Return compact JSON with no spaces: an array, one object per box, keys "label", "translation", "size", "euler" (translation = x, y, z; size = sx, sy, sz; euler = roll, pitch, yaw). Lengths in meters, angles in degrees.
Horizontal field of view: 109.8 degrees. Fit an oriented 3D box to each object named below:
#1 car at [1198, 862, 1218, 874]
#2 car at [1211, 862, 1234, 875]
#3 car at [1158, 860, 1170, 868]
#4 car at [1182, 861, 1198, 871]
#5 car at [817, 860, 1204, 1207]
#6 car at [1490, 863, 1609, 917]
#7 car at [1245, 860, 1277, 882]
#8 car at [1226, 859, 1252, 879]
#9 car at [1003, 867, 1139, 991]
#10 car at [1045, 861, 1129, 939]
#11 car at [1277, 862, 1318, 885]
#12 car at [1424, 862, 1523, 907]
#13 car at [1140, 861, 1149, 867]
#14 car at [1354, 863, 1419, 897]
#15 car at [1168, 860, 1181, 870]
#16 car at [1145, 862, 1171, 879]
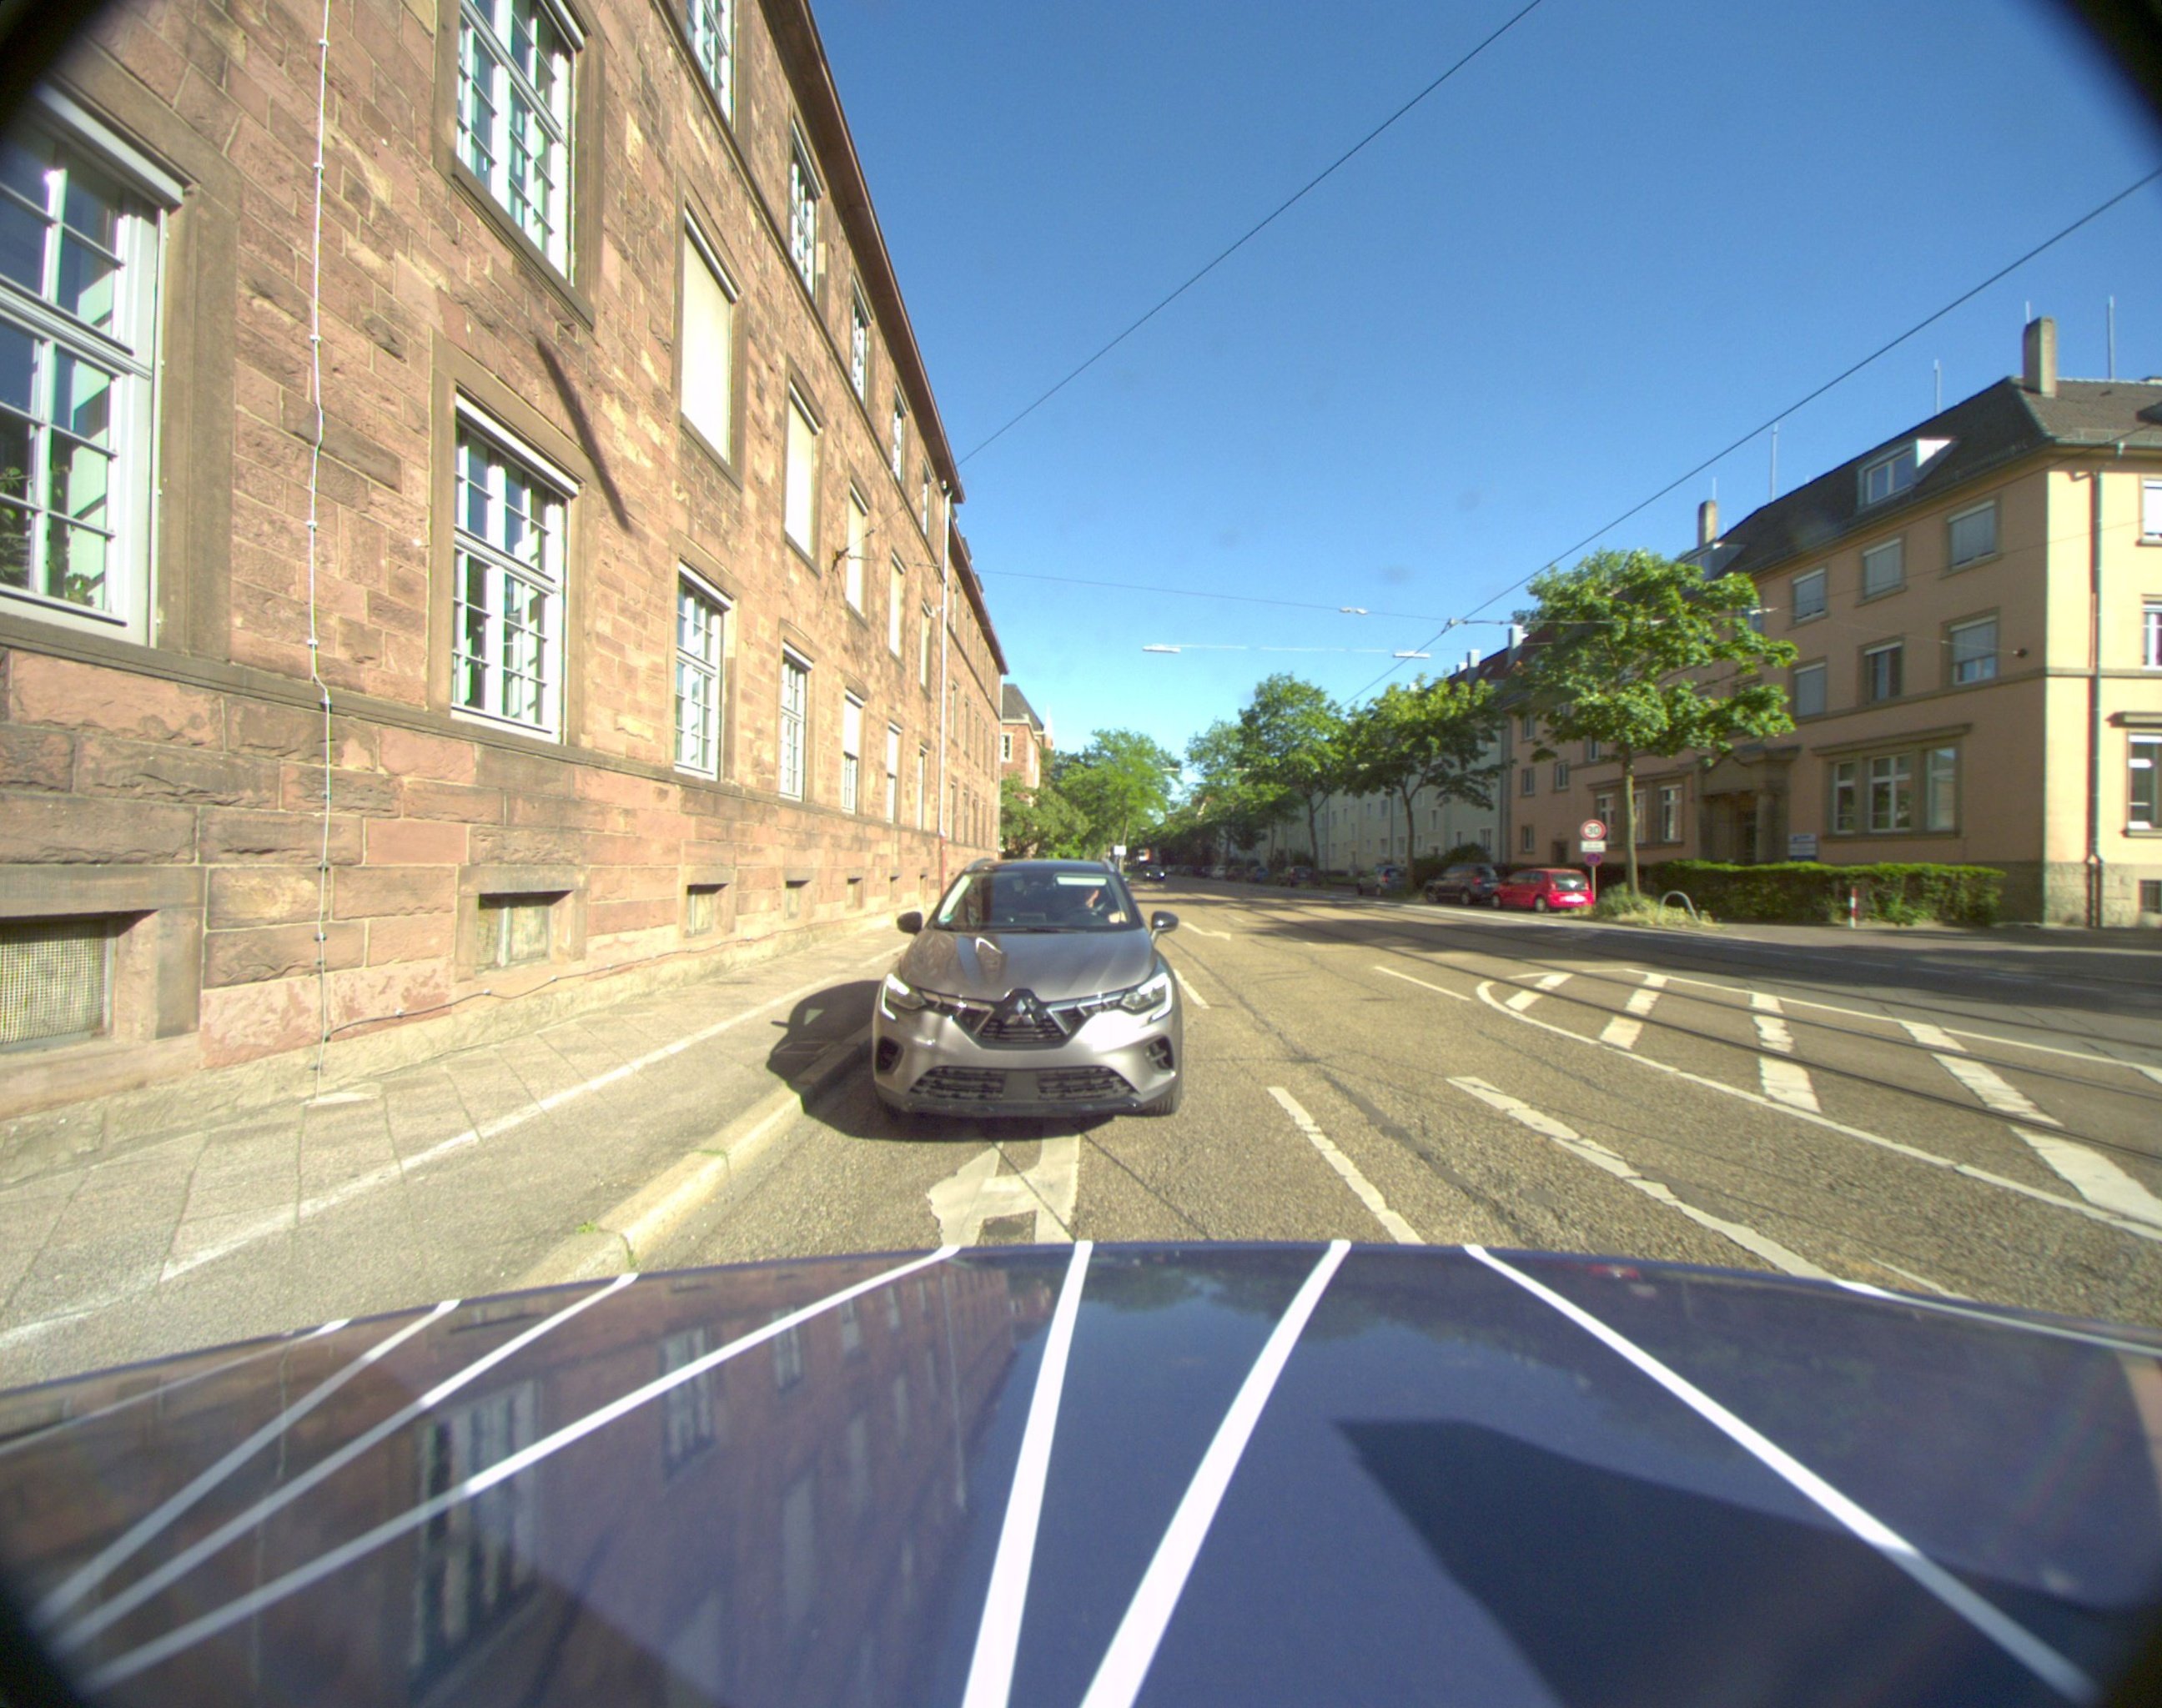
[{"label":"car","translation":[15.840,1.754,94.817],"size":[1.816,1.411,3.630],"euler":[1,0,-2]},{"label":"car","translation":[16.025,1.666,85.890],"size":[1.816,1.411,3.630],"euler":[1,0,-2]},{"label":"car","translation":[15.971,1.849,146.835],"size":[1.816,1.514,3.630],"euler":[1,0,-2]},{"label":"car","translation":[16.032,1.742,111.769],"size":[1.816,1.411,3.630],"euler":[1,0,-2]},{"label":"car","translation":[-0.374,0.849,5.456],"size":[1.796,1.595,3.799],"euler":[0,0,-2]},{"label":"car","translation":[15.851,1.162,25.899],"size":[1.816,1.696,3.374],"euler":[1,0,-3]},{"label":"car","translation":[15.968,1.470,67.454],"size":[1.816,1.814,3.795],"euler":[1,0,-2]},{"label":"car","translation":[15.896,1.527,76.531],"size":[1.816,1.929,3.630],"euler":[1,0,-2]},{"label":"car","translation":[-0.183,1.028,12.003],"size":[1.796,1.595,3.799],"euler":[0,0,-2]},{"label":"car","translation":[0.070,1.011,18.450],"size":[1.796,1.638,4.083],"euler":[0,0,-2]},{"label":"car","translation":[15.787,1.425,55.561],"size":[1.816,1.589,3.630],"euler":[1,0,-2]},{"label":"car","translation":[15.641,1.167,30.507],"size":[1.816,1.648,3.819],"euler":[1,0,-3]},{"label":"car","translation":[16.058,2.483,191.334],"size":[1.816,1.411,3.630],"euler":[1,0,-2]},{"label":"car","translation":[15.728,1.298,39.317],"size":[1.816,1.648,3.877],"euler":[1,0,1]},{"label":"car","translation":[16.582,1.940,135.198],"size":[1.816,1.768,3.630],"euler":[1,0,-2]},{"label":"car","translation":[7.243,1.516,71.747],"size":[1.912,1.510,4.000],"euler":[1,0,-1]}]
